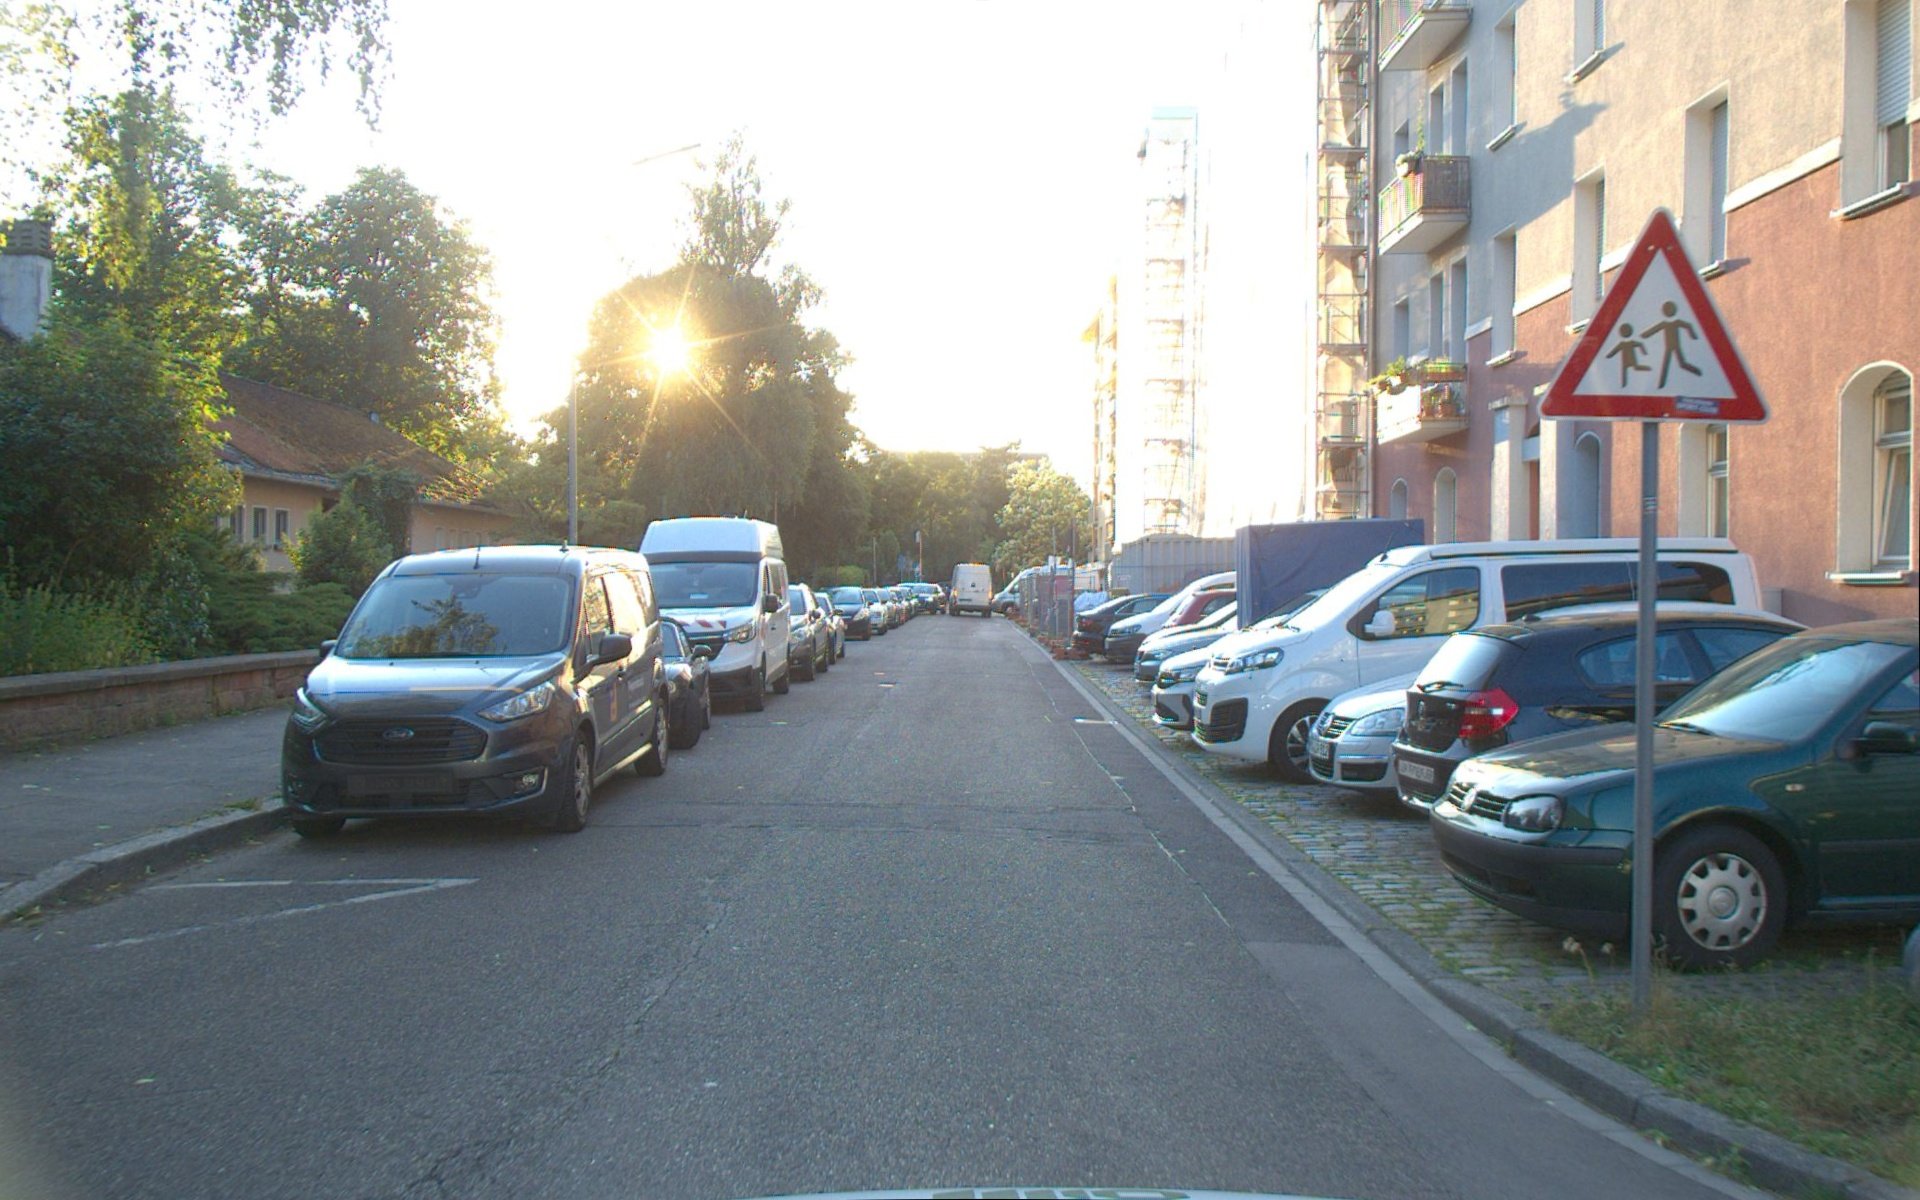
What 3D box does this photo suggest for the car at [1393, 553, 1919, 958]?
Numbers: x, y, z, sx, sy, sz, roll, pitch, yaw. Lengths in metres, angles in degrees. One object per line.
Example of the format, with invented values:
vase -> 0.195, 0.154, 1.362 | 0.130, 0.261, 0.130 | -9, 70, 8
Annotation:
car -> 4.264, 0.623, 7.631 | 4.020, 1.613, 1.854 | 0, 0, -3

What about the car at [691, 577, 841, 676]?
car -> -3.261, 0.408, 28.685 | 1.952, 1.545, 4.789 | 1, 0, 1

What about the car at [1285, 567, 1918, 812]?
car -> 4.567, 0.607, 12.241 | 3.906, 1.646, 1.999 | 0, 0, -2

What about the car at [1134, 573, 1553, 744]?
car -> 3.900, 0.579, 17.315 | 3.906, 1.668, 1.999 | 0, 0, -2

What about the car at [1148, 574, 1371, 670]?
car -> 5.280, 0.375, 29.432 | 3.617, 1.638, 1.744 | 0, 0, -2

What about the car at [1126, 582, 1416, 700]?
car -> 4.547, 0.584, 24.579 | 3.907, 1.666, 1.902 | 0, 0, -3

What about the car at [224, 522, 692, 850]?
car -> -3.218, 0.458, 11.770 | 1.871, 1.819, 4.949 | -1, 1, -1

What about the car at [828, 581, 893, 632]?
car -> -3.091, 0.181, 52.078 | 1.746, 1.471, 4.748 | -2, 0, 0

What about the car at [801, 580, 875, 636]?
car -> -3.395, 0.201, 46.547 | 1.954, 1.478, 3.998 | 1, 0, -3

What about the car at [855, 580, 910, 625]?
car -> -2.802, 0.088, 60.654 | 1.822, 1.565, 4.758 | -1, 0, 0

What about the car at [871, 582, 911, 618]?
car -> -2.960, -0.027, 71.698 | 1.568, 1.456, 3.803 | -2, 0, -1

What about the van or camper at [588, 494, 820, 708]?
van or camper -> -3.282, -0.019, 22.534 | 1.952, 2.500, 6.085 | 0, 1, 2

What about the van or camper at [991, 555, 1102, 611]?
van or camper -> 4.620, -0.900, 88.961 | 5.808, 2.818, 2.109 | 1, 0, -1

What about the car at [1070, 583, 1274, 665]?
car -> 4.364, 0.481, 34.573 | 4.067, 1.644, 1.872 | 0, 0, 2

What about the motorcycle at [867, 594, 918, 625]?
motorcycle -> -3.063, 0.421, 74.913 | 2.118, 1.326, 0.880 | 1, 0, 15

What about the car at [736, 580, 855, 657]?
car -> -3.303, 0.343, 34.080 | 1.952, 1.478, 4.288 | 1, 0, 1

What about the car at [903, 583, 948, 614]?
car -> -1.806, -0.075, 88.051 | 1.766, 1.597, 4.569 | 0, 0, 8

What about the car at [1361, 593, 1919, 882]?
car -> 4.637, 0.753, 10.026 | 3.906, 1.557, 1.999 | 0, 0, -2

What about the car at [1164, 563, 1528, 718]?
car -> 4.557, 0.474, 19.954 | 3.906, 1.758, 1.999 | 0, -1, -2

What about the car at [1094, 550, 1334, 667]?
car -> 4.854, 0.130, 31.867 | 4.185, 2.014, 1.819 | -2, 1, -8

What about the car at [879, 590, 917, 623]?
car -> -2.905, 0.286, 78.106 | 1.680, 1.522, 4.360 | -1, 0, -1

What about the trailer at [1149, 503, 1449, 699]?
trailer -> 4.437, 0.000, 22.033 | 3.496, 2.377, 1.940 | -2, 0, -3

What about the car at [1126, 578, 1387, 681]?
car -> 4.760, 0.466, 26.883 | 3.885, 1.599, 1.788 | 0, 0, -3

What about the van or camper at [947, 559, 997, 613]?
van or camper -> 0.641, -0.729, 85.724 | 2.403, 2.591, 6.083 | 2, 0, 0

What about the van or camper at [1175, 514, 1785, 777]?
van or camper -> 4.401, 0.367, 14.581 | 4.735, 2.133, 2.040 | 0, 0, -1

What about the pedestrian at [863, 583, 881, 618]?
pedestrian -> -4.809, 0.025, 90.394 | 0.919, 1.862, 0.786 | 1, 0, -1

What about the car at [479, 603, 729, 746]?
car -> -3.443, 0.672, 16.725 | 1.954, 1.210, 4.032 | 1, 0, -5
